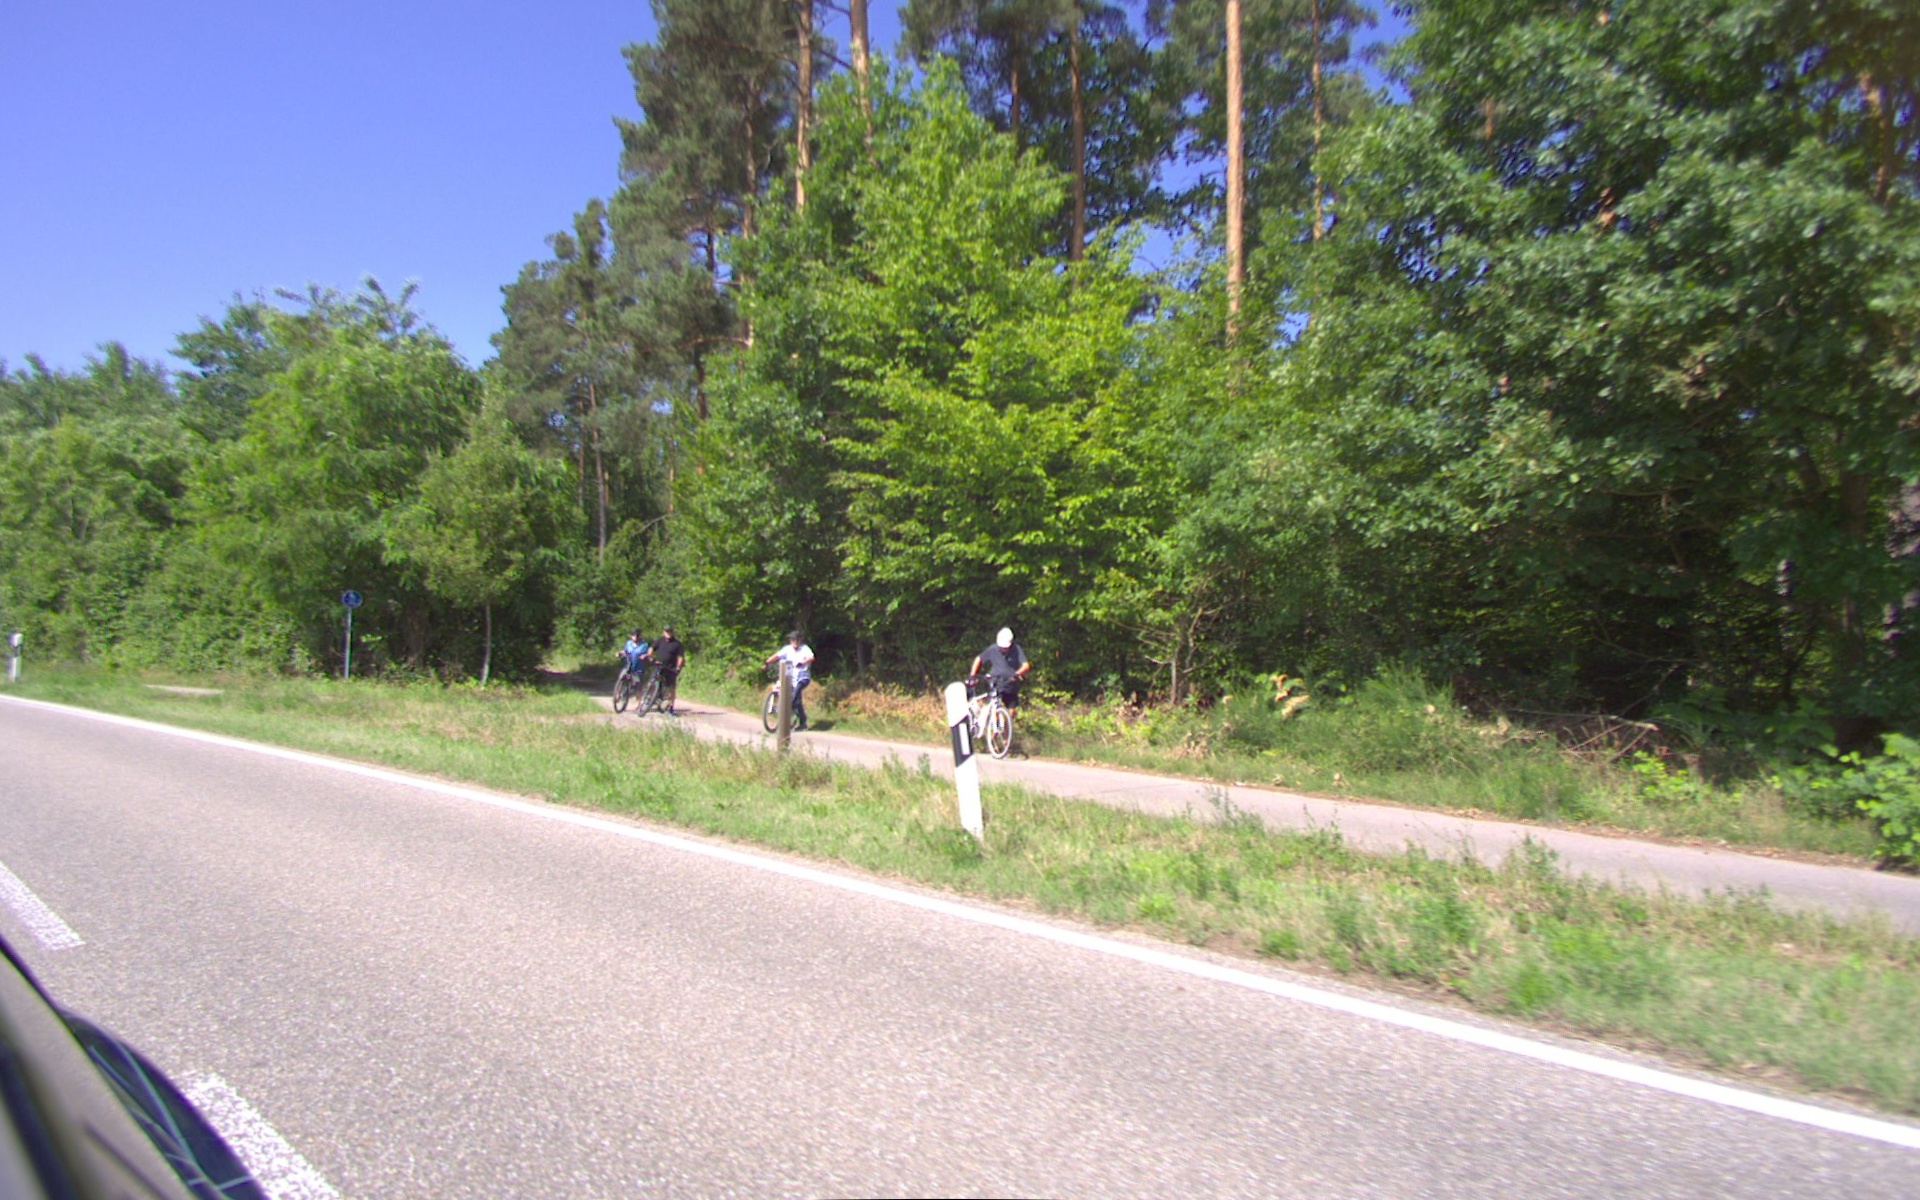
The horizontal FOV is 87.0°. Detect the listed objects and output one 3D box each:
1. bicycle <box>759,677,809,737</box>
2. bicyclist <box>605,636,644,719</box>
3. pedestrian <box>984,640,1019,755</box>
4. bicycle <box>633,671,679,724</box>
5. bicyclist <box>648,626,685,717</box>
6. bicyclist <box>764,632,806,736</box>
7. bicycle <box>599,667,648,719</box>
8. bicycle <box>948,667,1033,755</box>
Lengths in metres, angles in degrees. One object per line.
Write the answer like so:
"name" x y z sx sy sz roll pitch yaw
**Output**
"bicycle" -2.993 1.805 17.355 0.597 0.836 1.986 0 0 -3
"bicyclist" -6.548 1.495 19.792 0.596 1.557 0.873 0 -1 -9
"pedestrian" 0.578 1.336 14.015 0.389 1.550 0.281 -1 -3 32
"bicycle" -5.887 1.869 19.670 0.596 0.836 1.989 0 0 -9
"bicyclist" -5.708 1.367 19.713 0.596 1.713 0.852 0 -1 -9
"bicyclist" -2.999 1.418 17.384 0.597 1.732 0.790 0 -1 -2
"bicycle" -6.557 1.792 19.792 0.596 0.836 1.989 0 0 -9
"bicycle" 0.397 1.513 14.096 0.572 1.094 1.452 -1 -2 -24
